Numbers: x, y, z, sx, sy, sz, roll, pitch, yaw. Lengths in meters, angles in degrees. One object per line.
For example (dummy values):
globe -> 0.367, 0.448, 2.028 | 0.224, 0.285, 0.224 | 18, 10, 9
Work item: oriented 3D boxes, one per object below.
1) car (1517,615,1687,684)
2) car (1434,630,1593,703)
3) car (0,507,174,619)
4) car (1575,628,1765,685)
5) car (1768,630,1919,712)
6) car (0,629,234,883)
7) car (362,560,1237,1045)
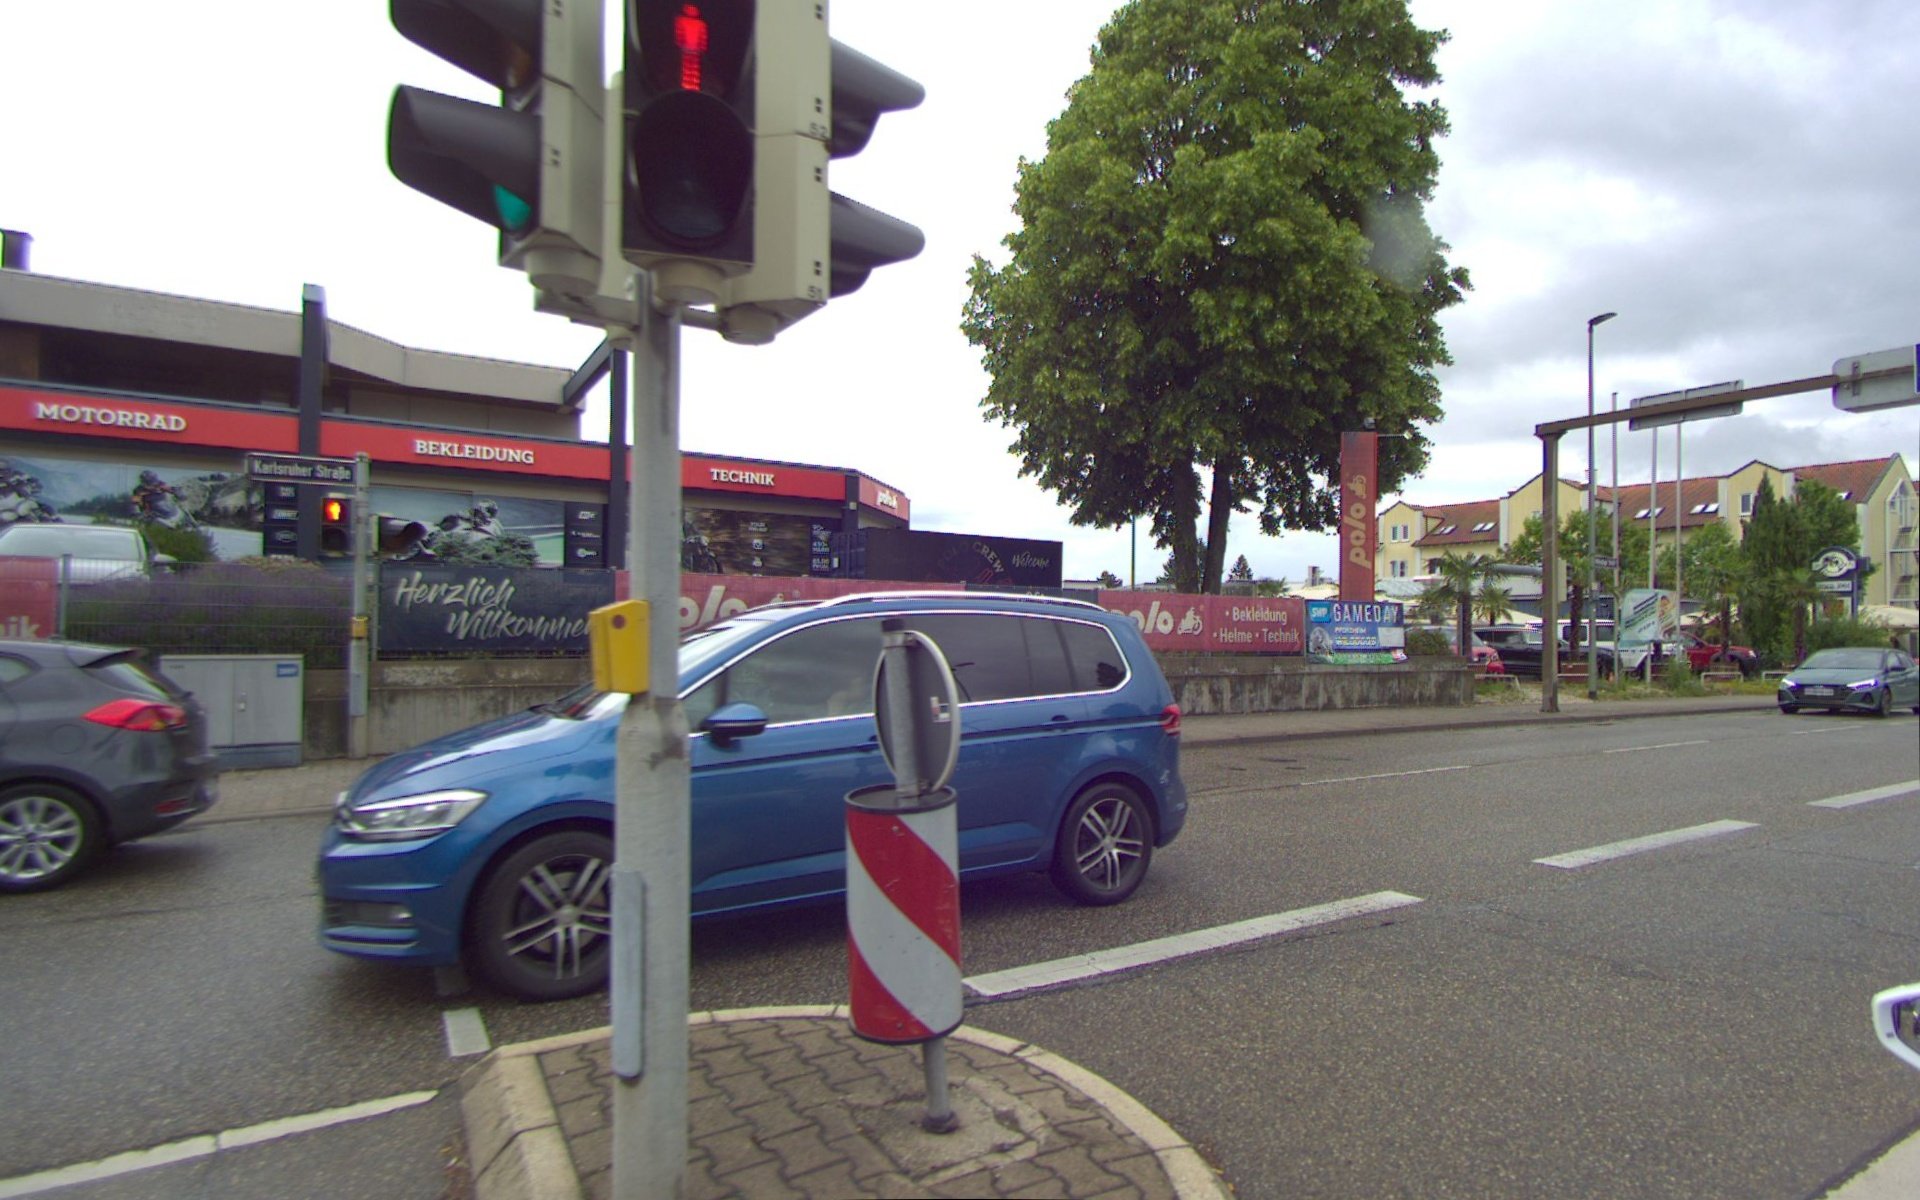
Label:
car -> 20.102, 1.566, 31.649 | 4.324, 2.040, 1.996 | -2, -3, 32
car -> 12.684, 1.514, 23.272 | 1.633, 1.523, 3.619 | 1, -3, -1
car -> -10.804, -0.363, 12.336 | 1.438, 1.183, 3.368 | 1, -2, -32
car -> 23.149, 1.883, 33.040 | 4.927, 1.724, 1.996 | -2, -6, 32
car -> 19.560, 1.490, 21.949 | 3.954, 1.639, 1.668 | 1, -2, -31
car -> -6.796, 0.871, 5.744 | 4.077, 1.397, 1.908 | 1, -3, -31
car -> -0.709, 0.774, 5.381 | 4.248, 1.671, 1.830 | 1, -3, -31
